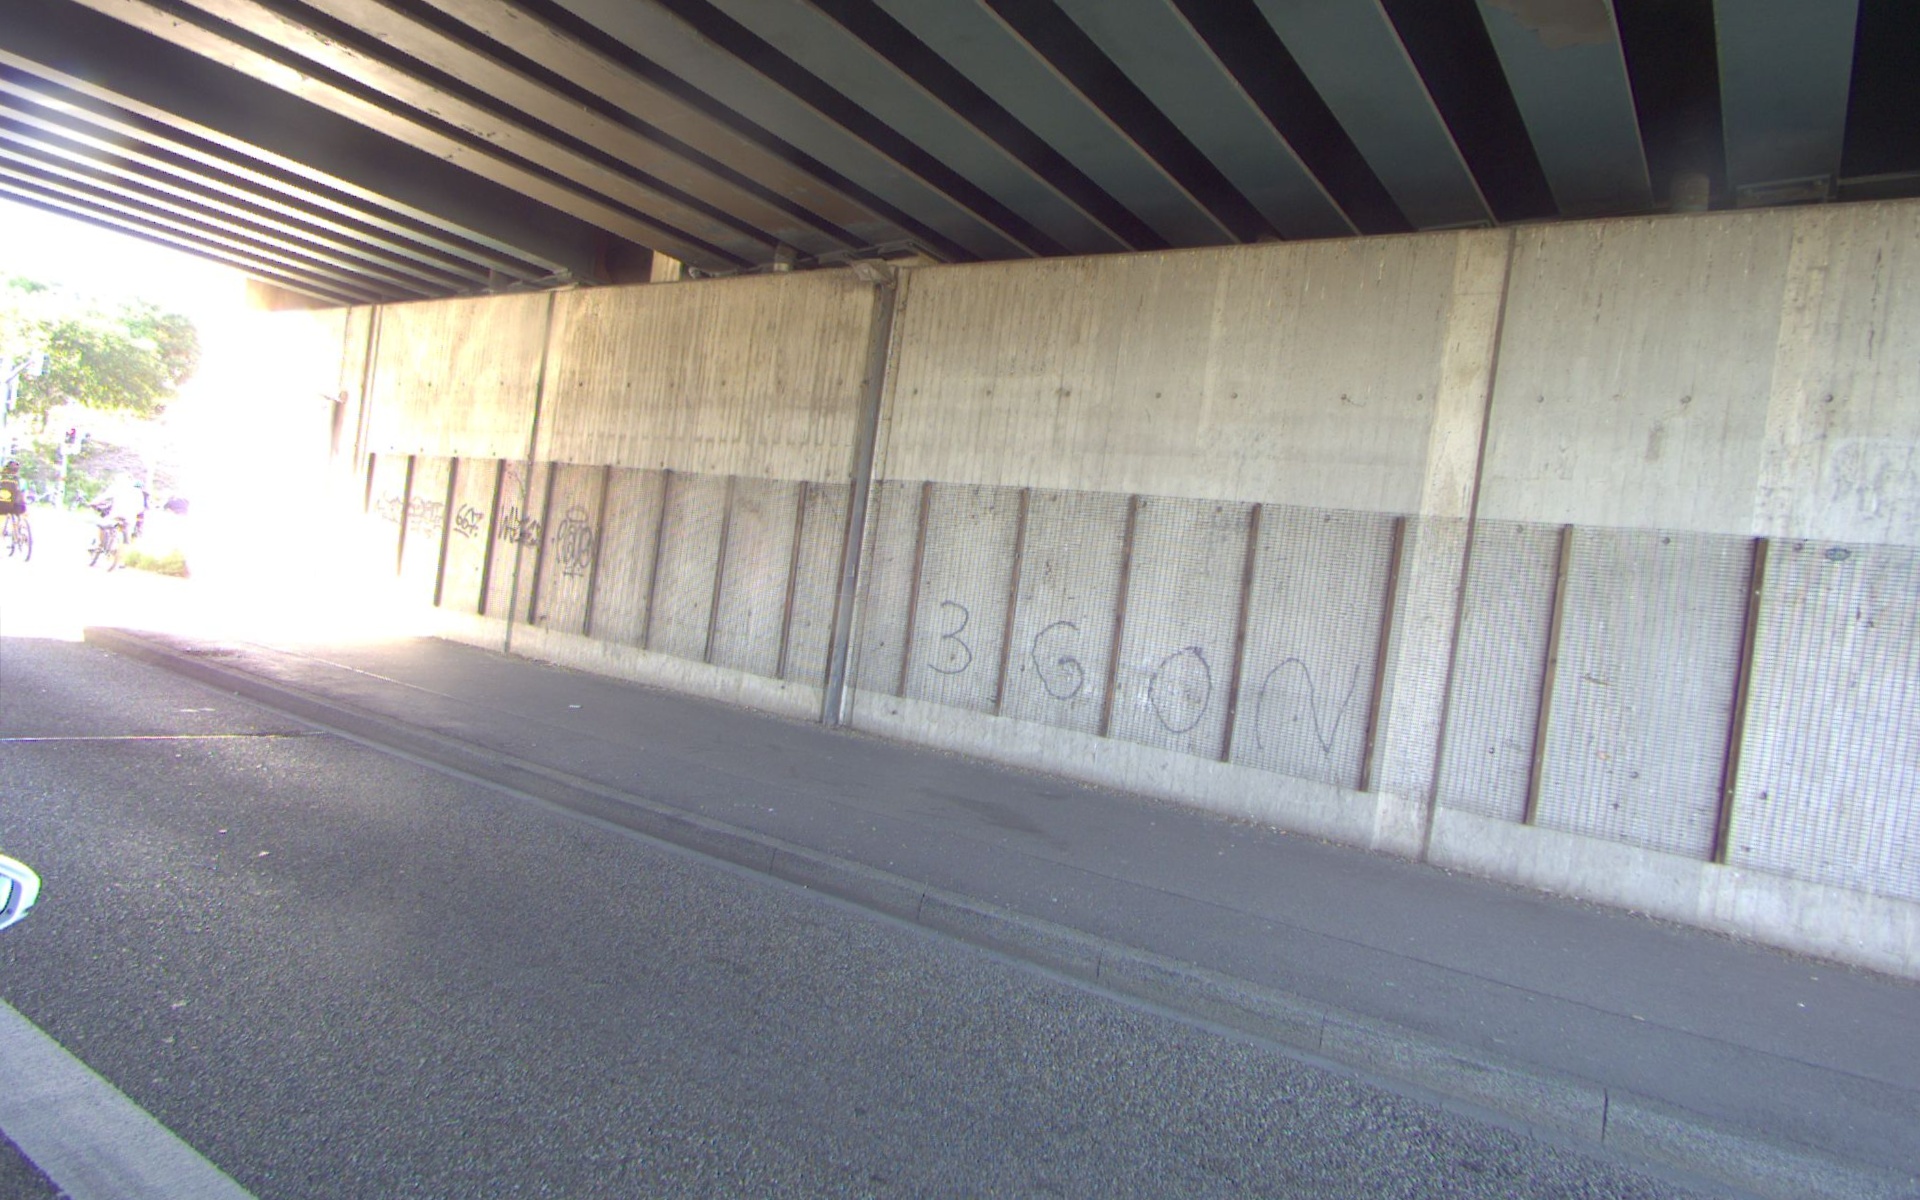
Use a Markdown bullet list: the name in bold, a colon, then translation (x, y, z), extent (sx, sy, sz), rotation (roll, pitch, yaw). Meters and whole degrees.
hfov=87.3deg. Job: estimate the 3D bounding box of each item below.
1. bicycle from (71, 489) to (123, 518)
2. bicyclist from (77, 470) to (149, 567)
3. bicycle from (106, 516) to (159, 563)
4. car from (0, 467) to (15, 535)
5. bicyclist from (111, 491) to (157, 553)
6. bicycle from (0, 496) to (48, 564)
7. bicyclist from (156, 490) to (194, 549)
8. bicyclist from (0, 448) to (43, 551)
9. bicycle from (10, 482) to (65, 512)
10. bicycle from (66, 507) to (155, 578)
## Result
- **bicycle**: translation (-41.071, -4.579, 47.894), extent (0.586, 1.035, 1.743), rotation (6, -2, 43)
- **bicyclist**: translation (-14.683, -1.414, 17.446), extent (0.756, 1.566, 0.593), rotation (6, -1, 32)
- **bicycle**: translation (-21.373, -1.566, 25.959), extent (2.027, 1.035, 0.671), rotation (6, -2, 42)
- **car**: translation (-25.251, -2.655, 24.324), extent (1.698, 1.727, 3.970), rotation (7, -1, -15)
- **bicyclist**: translation (-21.341, -2.020, 25.995), extent (0.740, 1.491, 0.664), rotation (6, -1, 41)
- **bicycle**: translation (-16.203, -1.218, 17.026), extent (1.721, 1.035, 0.593), rotation (6, -1, 32)
- **bicyclist**: translation (-21.715, -2.222, 27.829), extent (0.647, 1.499, 0.610), rotation (8, 0, -43)
- **bicyclist**: translation (-16.209, -1.715, 17.056), extent (0.927, 1.632, 0.593), rotation (6, -1, 32)
- **bicycle**: translation (-42.883, -4.782, 46.777), extent (0.585, 1.035, 1.744), rotation (6, -2, 40)
- **bicycle**: translation (-14.724, -1.006, 17.425), extent (1.721, 1.035, 0.593), rotation (6, -1, 32)
